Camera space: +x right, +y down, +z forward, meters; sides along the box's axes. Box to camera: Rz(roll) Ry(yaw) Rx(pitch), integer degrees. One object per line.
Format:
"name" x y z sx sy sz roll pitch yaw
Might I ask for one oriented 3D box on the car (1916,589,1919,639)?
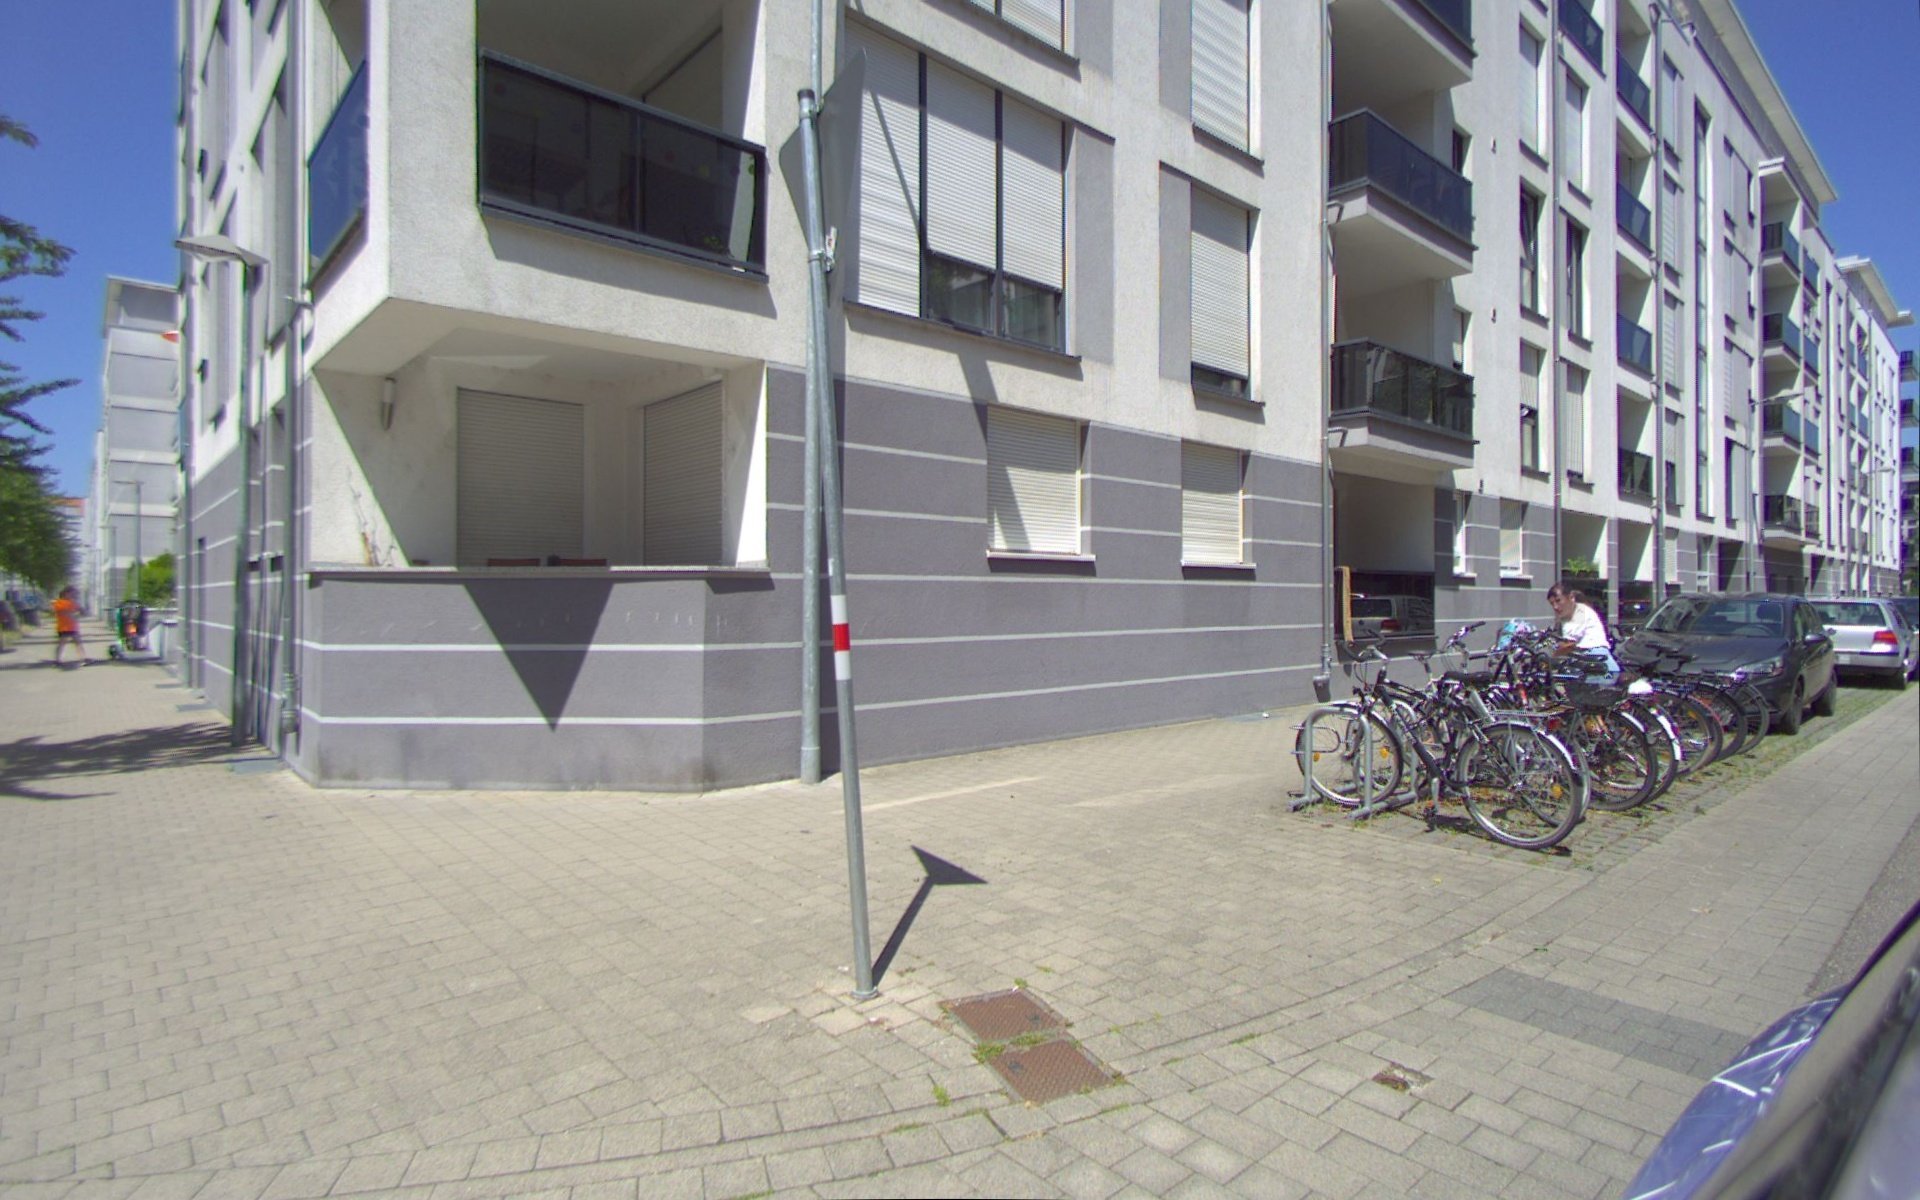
"car" 30.772 0.438 31.190 3.612 1.504 1.598 0 2 -42

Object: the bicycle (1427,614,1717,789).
"bicycle" 4.573 0.713 7.694 1.824 1.162 0.456 1 1 30

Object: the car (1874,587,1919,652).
"car" 23.692 0.462 24.701 4.047 1.480 1.645 0 2 -43

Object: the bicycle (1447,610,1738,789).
"bicycle" 4.989 0.726 8.089 1.921 1.233 0.454 1 1 40

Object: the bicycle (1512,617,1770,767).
"bicycle" 5.986 0.749 8.972 0.735 1.118 1.787 0 1 -45

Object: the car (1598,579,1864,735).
"car" 9.163 0.537 11.898 4.156 1.504 1.741 0 1 -42

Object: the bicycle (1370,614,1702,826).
"bicycle" 3.889 0.731 7.026 0.626 1.194 1.931 0 1 -32

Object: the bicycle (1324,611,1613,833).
"bicycle" 3.307 0.718 6.675 0.696 1.233 1.552 0 1 -43

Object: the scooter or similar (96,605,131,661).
"scooter or similar" -18.869 0.720 22.574 0.461 1.212 1.528 0 -1 -36

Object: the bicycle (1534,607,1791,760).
"bicycle" 6.523 0.711 9.474 0.704 1.233 1.871 0 1 -45

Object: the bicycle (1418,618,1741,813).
"bicycle" 4.394 0.744 7.351 0.597 1.147 1.931 0 1 -32

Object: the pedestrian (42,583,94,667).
"pedestrian" -18.009 0.493 20.443 0.729 1.674 0.514 0 0 -37

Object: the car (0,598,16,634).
"car" -36.954 0.601 38.401 1.606 1.304 3.401 0 0 -43

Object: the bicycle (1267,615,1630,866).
"bicycle" 2.862 0.734 6.123 0.675 1.208 1.864 0 1 -38

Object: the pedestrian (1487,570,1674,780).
"pedestrian" 4.897 0.532 8.006 1.177 1.534 0.678 1 1 39

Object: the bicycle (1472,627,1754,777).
"bicycle" 5.448 0.798 8.552 0.550 1.048 1.924 0 1 -45

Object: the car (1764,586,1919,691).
"car" 15.333 0.559 17.260 4.276 1.523 1.837 0 2 -42

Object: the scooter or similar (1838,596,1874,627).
"scooter or similar" 35.998 0.459 40.666 1.498 1.241 0.548 0 -1 -27
